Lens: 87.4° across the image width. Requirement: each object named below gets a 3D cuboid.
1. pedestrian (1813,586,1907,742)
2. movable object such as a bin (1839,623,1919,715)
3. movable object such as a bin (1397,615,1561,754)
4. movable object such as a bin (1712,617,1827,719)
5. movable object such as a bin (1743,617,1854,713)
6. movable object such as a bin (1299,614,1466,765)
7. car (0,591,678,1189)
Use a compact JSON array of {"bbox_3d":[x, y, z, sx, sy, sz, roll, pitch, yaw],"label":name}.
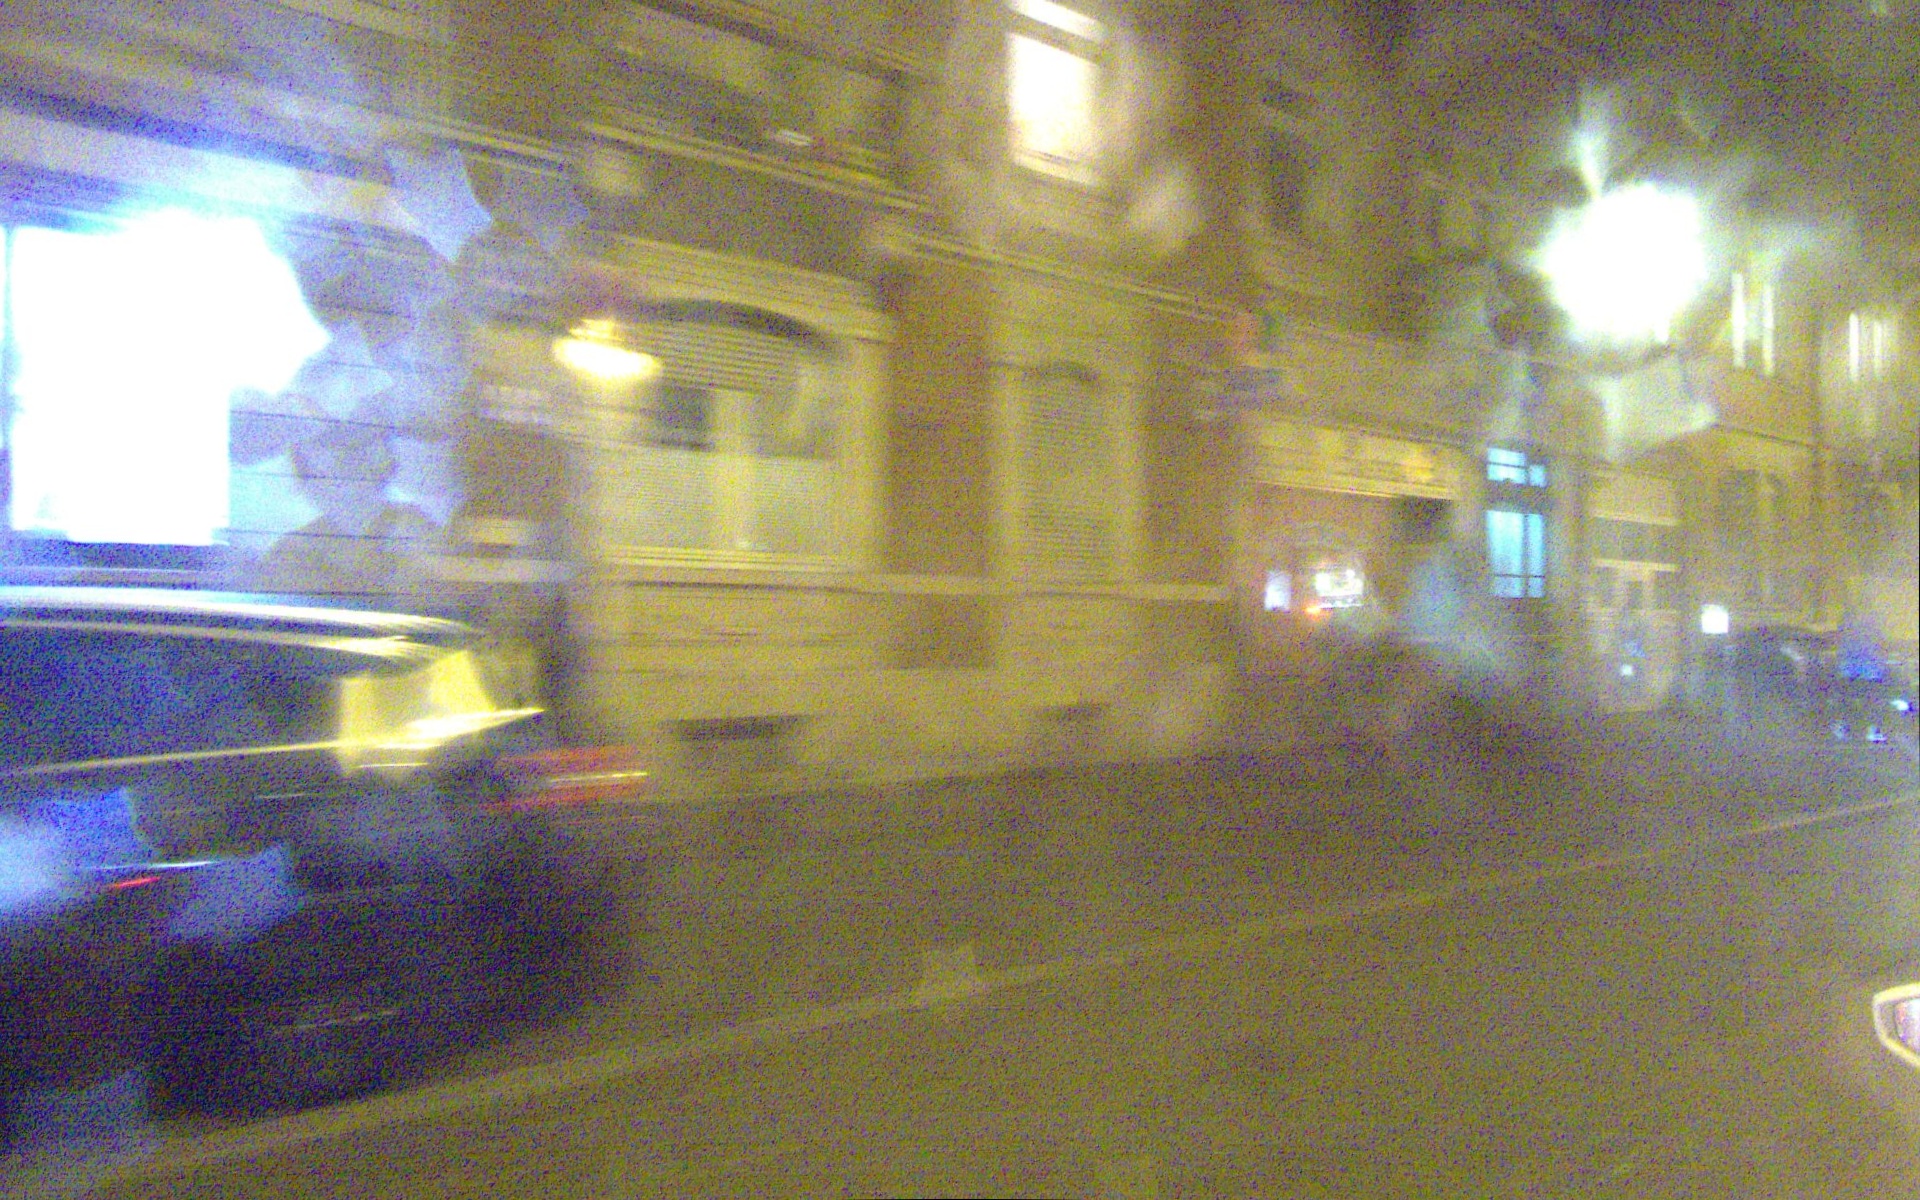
[{"bbox_3d":[11.081,0.760,12.369,0.785,1.845,0.588,1,1,-30],"label":"pedestrian"},{"bbox_3d":[15.412,1.115,16.596,1.119,1.417,0.971,1,1,-27],"label":"movable object such as a bin"},{"bbox_3d":[5.885,0.912,11.432,1.232,1.439,1.136,1,1,-27],"label":"movable object such as a bin"},{"bbox_3d":[12.286,1.003,15.262,1.119,1.439,0.971,1,1,-27],"label":"movable object such as a bin"},{"bbox_3d":[13.328,1.005,15.980,1.119,1.439,0.971,1,1,-27],"label":"movable object such as a bin"},{"bbox_3d":[4.419,0.887,10.551,1.139,1.439,1.136,1,1,-27],"label":"movable object such as a bin"},{"bbox_3d":[-3.183,0.707,2.960,4.265,1.475,1.678,1,0,-31],"label":"car"}]
